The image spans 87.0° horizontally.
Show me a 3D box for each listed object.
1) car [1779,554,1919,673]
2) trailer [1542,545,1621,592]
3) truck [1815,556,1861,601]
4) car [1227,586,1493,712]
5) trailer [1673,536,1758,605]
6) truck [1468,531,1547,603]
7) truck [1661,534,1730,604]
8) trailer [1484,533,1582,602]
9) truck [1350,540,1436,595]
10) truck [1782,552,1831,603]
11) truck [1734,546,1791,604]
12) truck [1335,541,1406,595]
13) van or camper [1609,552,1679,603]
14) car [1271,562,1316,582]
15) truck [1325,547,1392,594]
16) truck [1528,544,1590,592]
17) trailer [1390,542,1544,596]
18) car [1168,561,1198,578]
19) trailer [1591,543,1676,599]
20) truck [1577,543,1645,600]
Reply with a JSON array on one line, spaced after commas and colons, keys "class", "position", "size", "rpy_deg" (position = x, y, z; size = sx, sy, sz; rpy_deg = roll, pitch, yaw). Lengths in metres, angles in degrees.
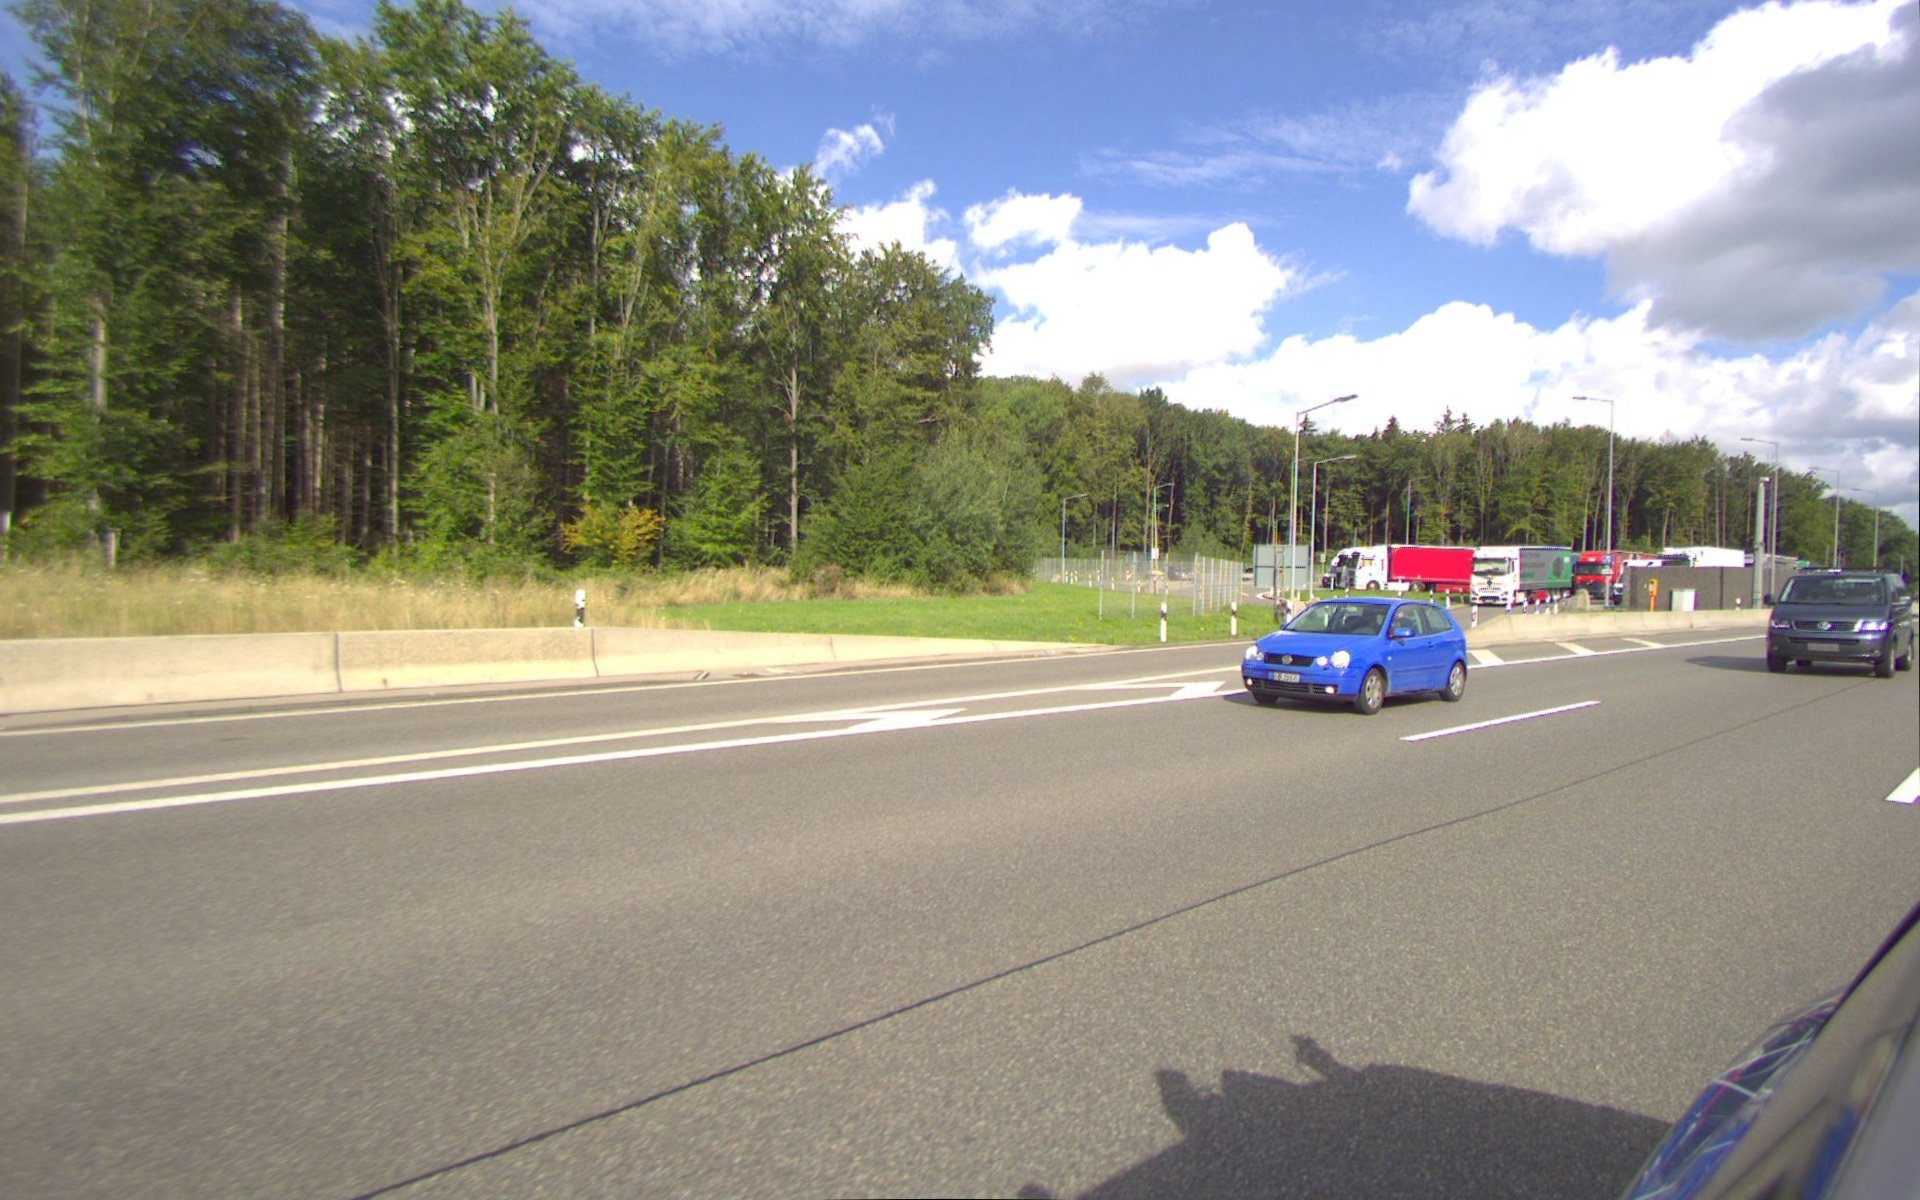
[{"class": "car", "position": [18.250, 0.233, 20.514], "size": [4.847, 2.136, 1.852], "rpy_deg": [0, 0, -42]}, {"class": "trailer", "position": [57.223, -2.831, 92.990], "size": [11.871, 4.075, 2.996], "rpy_deg": [-1, 1, -42]}, {"class": "truck", "position": [98.799, -2.396, 113.806], "size": [7.253, 4.986, 2.660], "rpy_deg": [0, 2, -40]}, {"class": "car", "position": [5.485, 0.560, 13.676], "size": [3.928, 1.460, 1.653], "rpy_deg": [0, 1, -39]}, {"class": "trailer", "position": [59.435, -2.226, 79.401], "size": [12.885, 4.986, 2.659], "rpy_deg": [0, 2, -42]}, {"class": "truck", "position": [36.703, -2.147, 67.693], "size": [2.871, 4.562, 7.066], "rpy_deg": [2, 2, 43]}, {"class": "truck", "position": [54.647, -2.242, 75.137], "size": [6.864, 4.986, 2.659], "rpy_deg": [0, 2, -42]}, {"class": "trailer", "position": [41.261, -2.234, 72.581], "size": [2.872, 4.562, 12.795], "rpy_deg": [2, 2, 44]}, {"class": "truck", "position": [36.443, -2.724, 85.381], "size": [5.991, 4.563, 2.876], "rpy_deg": [1, 0, 6]}, {"class": "truck", "position": [85.855, -2.235, 102.626], "size": [6.848, 4.986, 2.659], "rpy_deg": [0, 2, -42]}, {"class": "truck", "position": [70.726, -2.182, 89.136], "size": [7.136, 4.986, 2.659], "rpy_deg": [0, 2, -42]}, {"class": "truck", "position": [36.128, -2.816, 89.276], "size": [5.032, 4.564, 2.893], "rpy_deg": [1, 1, 6]}, {"class": "van or camper", "position": [44.827, -1.454, 66.291], "size": [4.655, 3.237, 2.395], "rpy_deg": [0, 1, -37]}, {"class": "car", "position": [34.800, -2.948, 105.740], "size": [1.966, 1.938, 3.994], "rpy_deg": [0, 2, -42]}, {"class": "truck", "position": [36.348, -2.714, 92.460], "size": [5.081, 4.169, 2.569], "rpy_deg": [1, 1, 6]}, {"class": "truck", "position": [52.731, -2.757, 88.983], "size": [6.147, 4.075, 2.979], "rpy_deg": [-1, 0, -42]}, {"class": "trailer", "position": [42.296, -2.597, 84.732], "size": [11.187, 4.429, 2.841], "rpy_deg": [1, 0, 7]}, {"class": "car", "position": [22.739, -3.135, 103.339], "size": [1.920, 1.704, 4.003], "rpy_deg": [1, 2, -2]}, {"class": "trailer", "position": [58.980, -2.417, 88.392], "size": [13.457, 4.563, 2.876], "rpy_deg": [0, 1, -42]}, {"class": "truck", "position": [54.106, -2.341, 84.038], "size": [6.913, 4.563, 2.877], "rpy_deg": [0, 1, -41]}]
